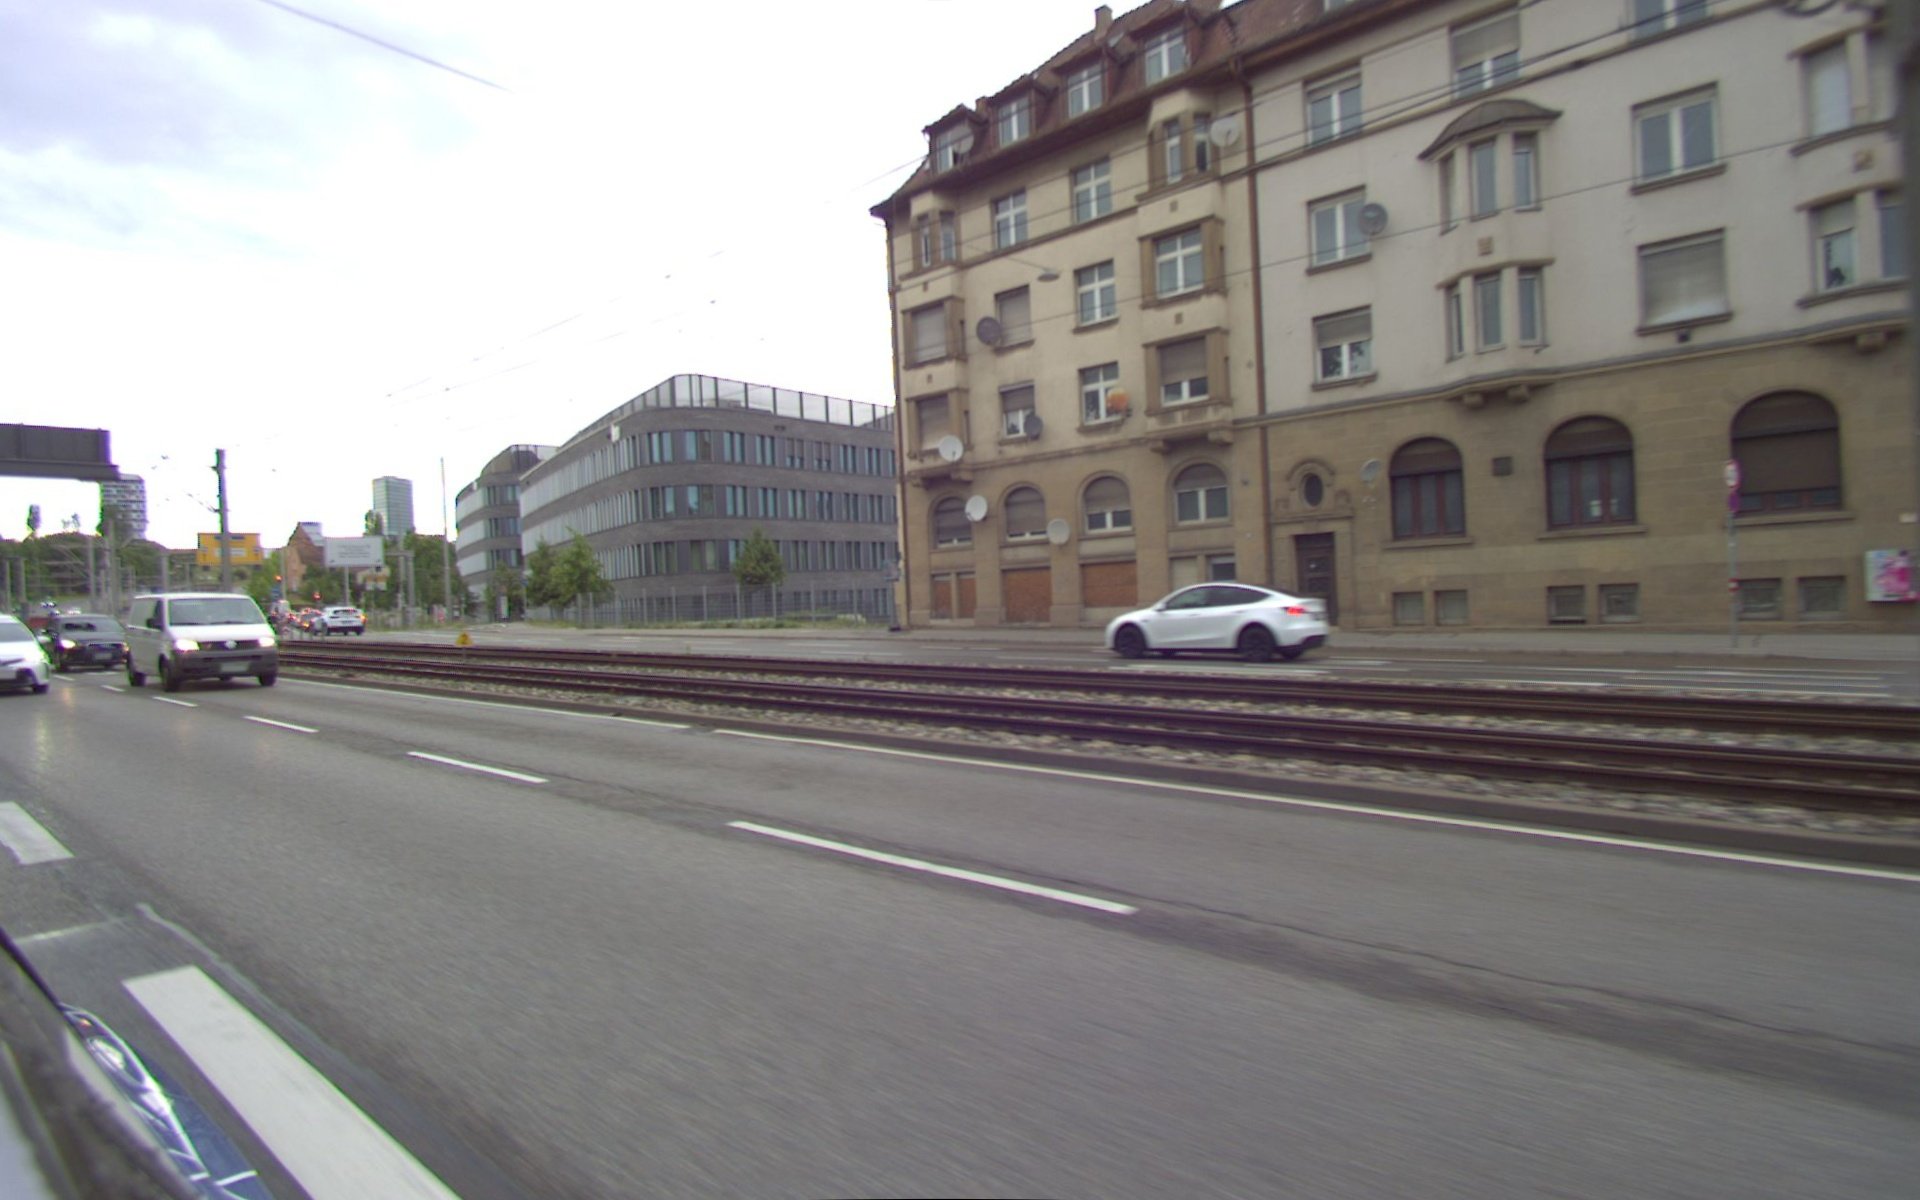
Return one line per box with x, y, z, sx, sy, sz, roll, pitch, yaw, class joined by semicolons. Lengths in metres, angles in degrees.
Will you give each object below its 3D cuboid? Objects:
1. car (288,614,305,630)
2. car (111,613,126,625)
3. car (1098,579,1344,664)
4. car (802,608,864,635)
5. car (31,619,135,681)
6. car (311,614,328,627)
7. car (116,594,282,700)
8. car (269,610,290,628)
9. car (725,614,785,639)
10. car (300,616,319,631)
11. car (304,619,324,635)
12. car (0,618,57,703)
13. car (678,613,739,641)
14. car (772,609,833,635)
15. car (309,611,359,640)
-83.079;2.755;126.763;1.643;1.918;4.011;-1;0;-33;car
-147.113;3.261;177.014;1.969;1.962;4.006;-1;0;-40;car
5.362;0.455;21.213;4.739;1.604;1.703;-1;-2;40;car
-8.157;1.352;64.801;3.998;1.666;1.723;-1;0;41;car
-24.810;1.361;28.592;3.894;1.585;1.686;-1;0;41;car
-88.874;2.813;140.422;1.807;1.811;4.226;0;-1;-35;car
-16.124;0.927;21.351;4.716;1.973;1.889;-1;0;42;car
-99.780;2.761;148.327;2.301;2.486;7.043;-1;0;-36;car
-11.951;1.534;58.974;3.566;1.345;1.601;-1;0;41;car
-79.219;2.859;123.318;1.807;1.811;4.226;0;-1;-35;car
-75.646;3.185;118.540;1.807;1.811;4.226;0;-1;-35;car
-19.881;1.197;20.416;4.317;1.585;1.956;-1;0;41;car
-14.055;1.493;56.413;3.566;1.447;1.525;-1;0;41;car
-9.814;1.354;62.947;3.787;1.556;1.723;-1;0;41;car
-36.894;1.474;59.573;1.724;1.609;4.494;-2;0;-42;car
